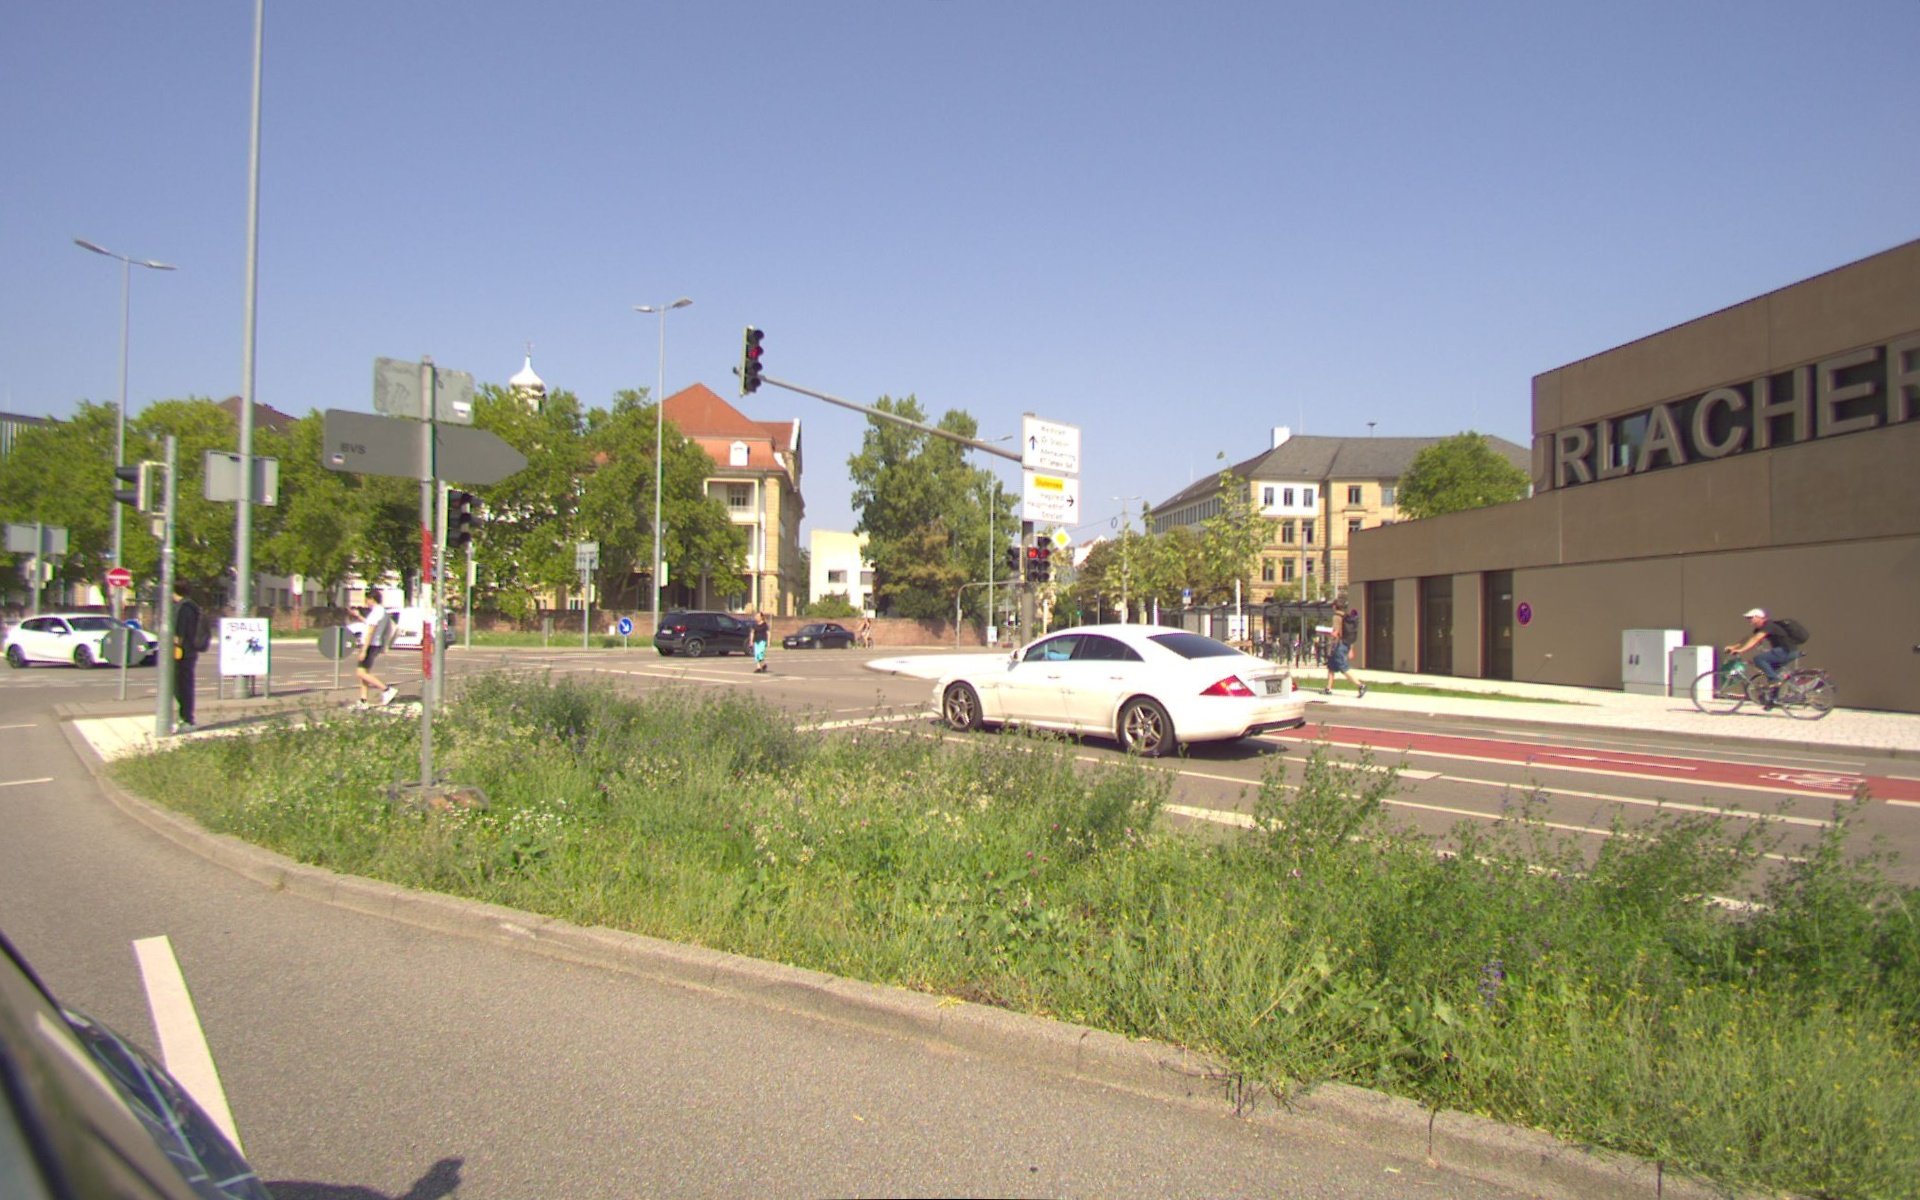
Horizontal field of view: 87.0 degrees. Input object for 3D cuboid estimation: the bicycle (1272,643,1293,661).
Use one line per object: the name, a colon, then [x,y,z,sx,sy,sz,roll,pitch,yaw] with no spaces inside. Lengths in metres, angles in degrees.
bicycle: [16.153,2.605,50.759,0.404,0.899,1.590,1,-2,-5]

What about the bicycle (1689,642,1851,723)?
bicycle: [12.126,1.202,15.194,1.852,1.072,0.555,0,0,45]

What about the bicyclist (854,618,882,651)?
bicyclist: [-5.040,1.925,55.566,0.884,1.759,1.354,-4,-4,33]

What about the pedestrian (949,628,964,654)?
pedestrian: [-0.283,3.332,82.064,0.821,2.029,0.895,-5,-5,43]

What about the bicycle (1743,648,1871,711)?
bicycle: [14.303,1.322,17.146,0.651,0.963,1.615,-1,-2,-7]

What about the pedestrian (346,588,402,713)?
pedestrian: [-8.881,0.760,15.359,0.683,1.847,0.572,2,-2,-29]

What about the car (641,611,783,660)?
car: [-8.548,1.229,35.270,1.851,1.590,4.654,-1,-2,37]

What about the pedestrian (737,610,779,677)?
pedestrian: [-4.941,1.057,24.757,0.746,1.577,0.664,2,-2,12]

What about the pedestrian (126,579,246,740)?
pedestrian: [-9.442,0.709,12.356,1.066,1.854,0.731,2,-3,-42]

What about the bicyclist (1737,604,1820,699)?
bicyclist: [12.214,0.757,15.115,0.556,1.372,0.884,1,-2,-45]

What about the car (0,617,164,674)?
car: [-23.643,1.183,27.261,3.835,1.447,1.705,-1,-1,19]

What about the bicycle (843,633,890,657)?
bicycle: [-5.081,2.460,55.473,0.884,1.214,3.044,-4,-4,32]

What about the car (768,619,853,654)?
car: [-6.983,1.704,47.691,1.992,1.564,3.960,0,-2,29]

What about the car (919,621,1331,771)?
car: [1.771,0.987,12.241,1.820,1.372,4.823,0,0,-43]

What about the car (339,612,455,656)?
car: [-23.550,1.427,42.439,3.933,1.691,1.761,-1,-3,-14]

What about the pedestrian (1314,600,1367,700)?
pedestrian: [6.969,0.899,18.561,0.872,1.773,0.674,-1,0,20]

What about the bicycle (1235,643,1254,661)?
bicycle: [14.671,2.657,52.137,0.404,0.899,1.590,1,-2,-5]

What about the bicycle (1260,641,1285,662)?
bicycle: [15.171,2.480,49.161,0.525,0.994,1.715,1,-2,-5]

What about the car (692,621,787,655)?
car: [-9.344,1.605,43.209,1.600,1.339,4.292,0,-2,28]

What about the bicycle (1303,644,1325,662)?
bicycle: [17.637,2.642,50.452,0.404,0.899,1.590,1,-2,-5]
